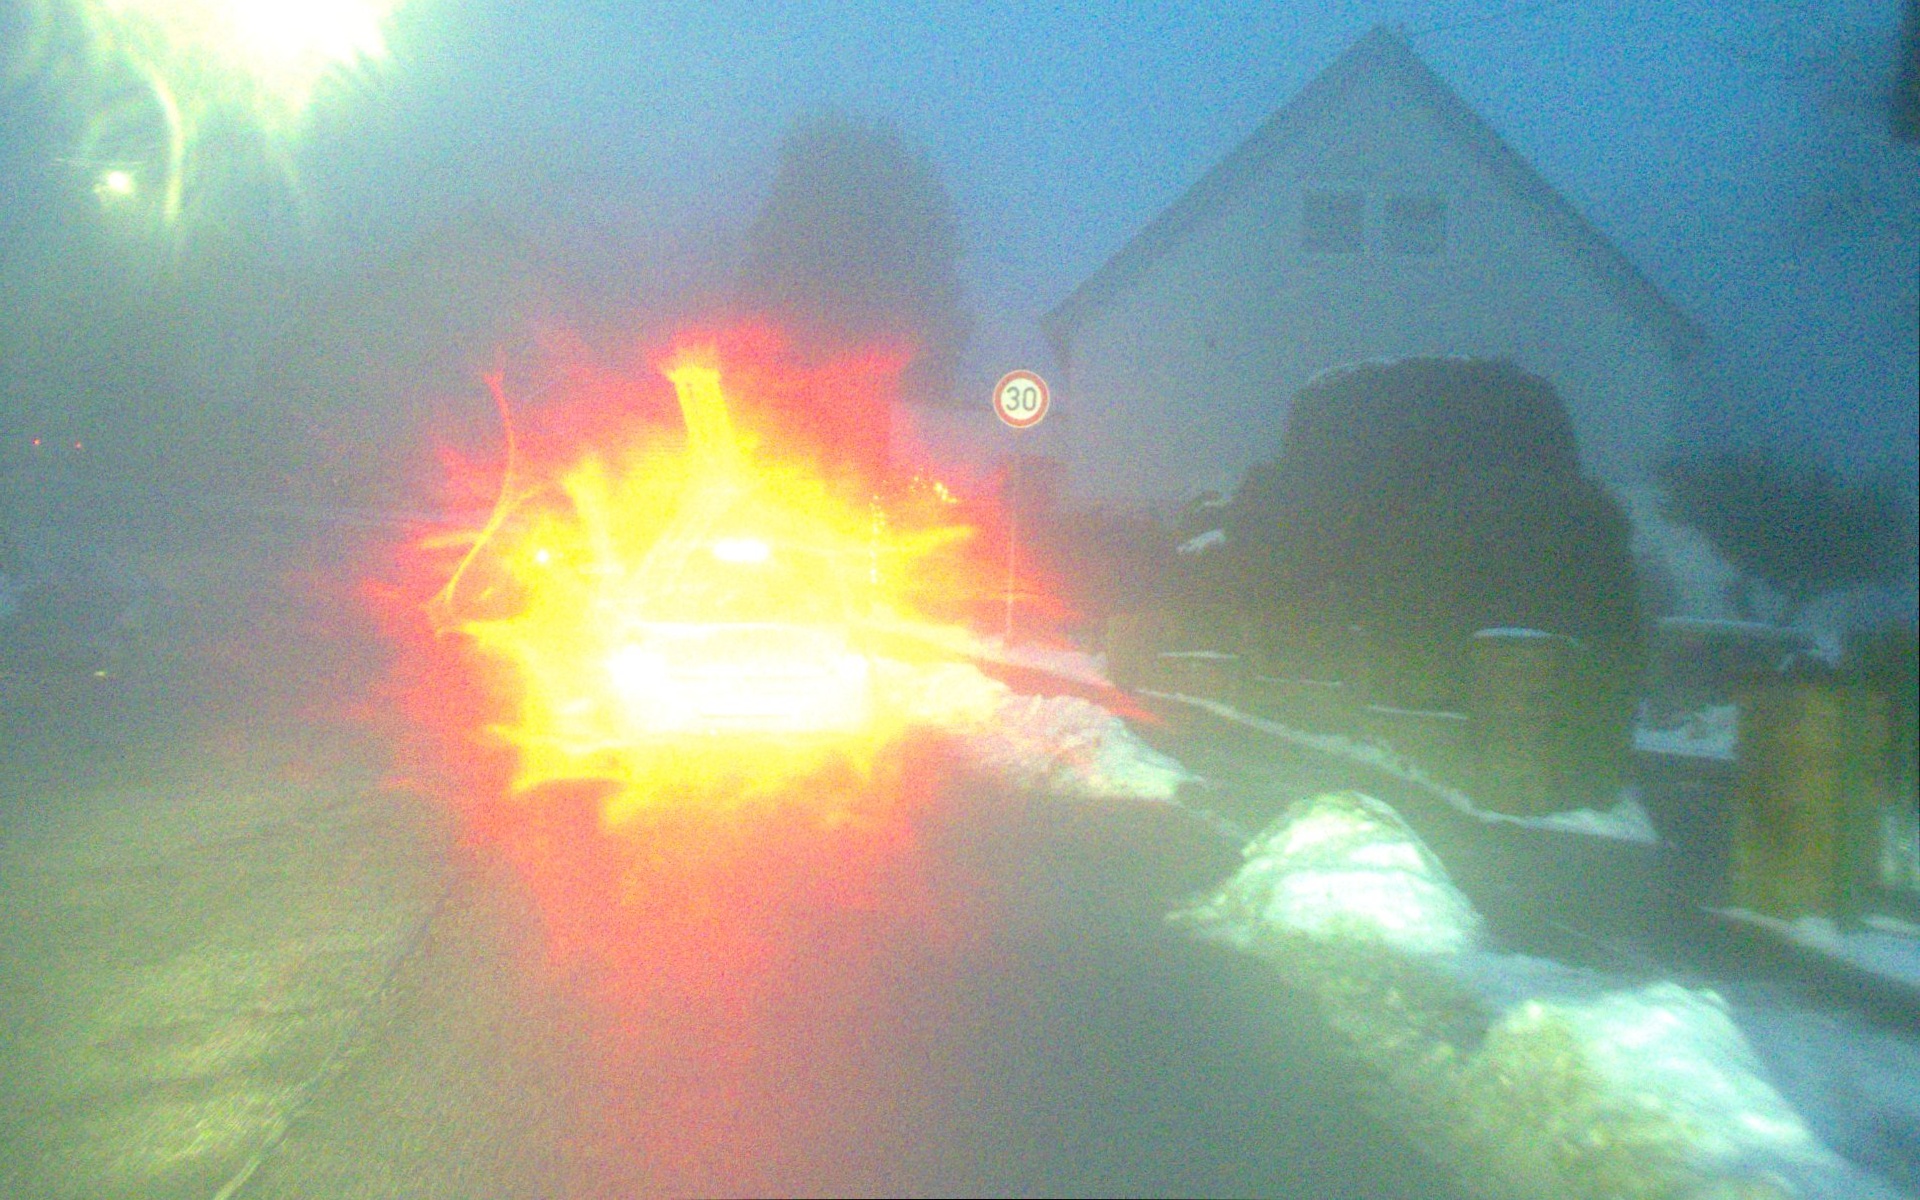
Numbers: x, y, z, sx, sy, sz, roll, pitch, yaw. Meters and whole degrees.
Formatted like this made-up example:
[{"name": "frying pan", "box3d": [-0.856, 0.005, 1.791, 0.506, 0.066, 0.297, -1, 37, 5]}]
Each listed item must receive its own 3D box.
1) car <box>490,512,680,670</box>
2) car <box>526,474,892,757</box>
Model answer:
[{"name": "car", "box3d": [-4.385, -0.098, 39.763, 1.993, 1.731, 3.879, 0, 0, -9]}, {"name": "car", "box3d": [-1.673, 0.087, 21.595, 1.897, 1.604, 4.001, 0, 0, -10]}]
